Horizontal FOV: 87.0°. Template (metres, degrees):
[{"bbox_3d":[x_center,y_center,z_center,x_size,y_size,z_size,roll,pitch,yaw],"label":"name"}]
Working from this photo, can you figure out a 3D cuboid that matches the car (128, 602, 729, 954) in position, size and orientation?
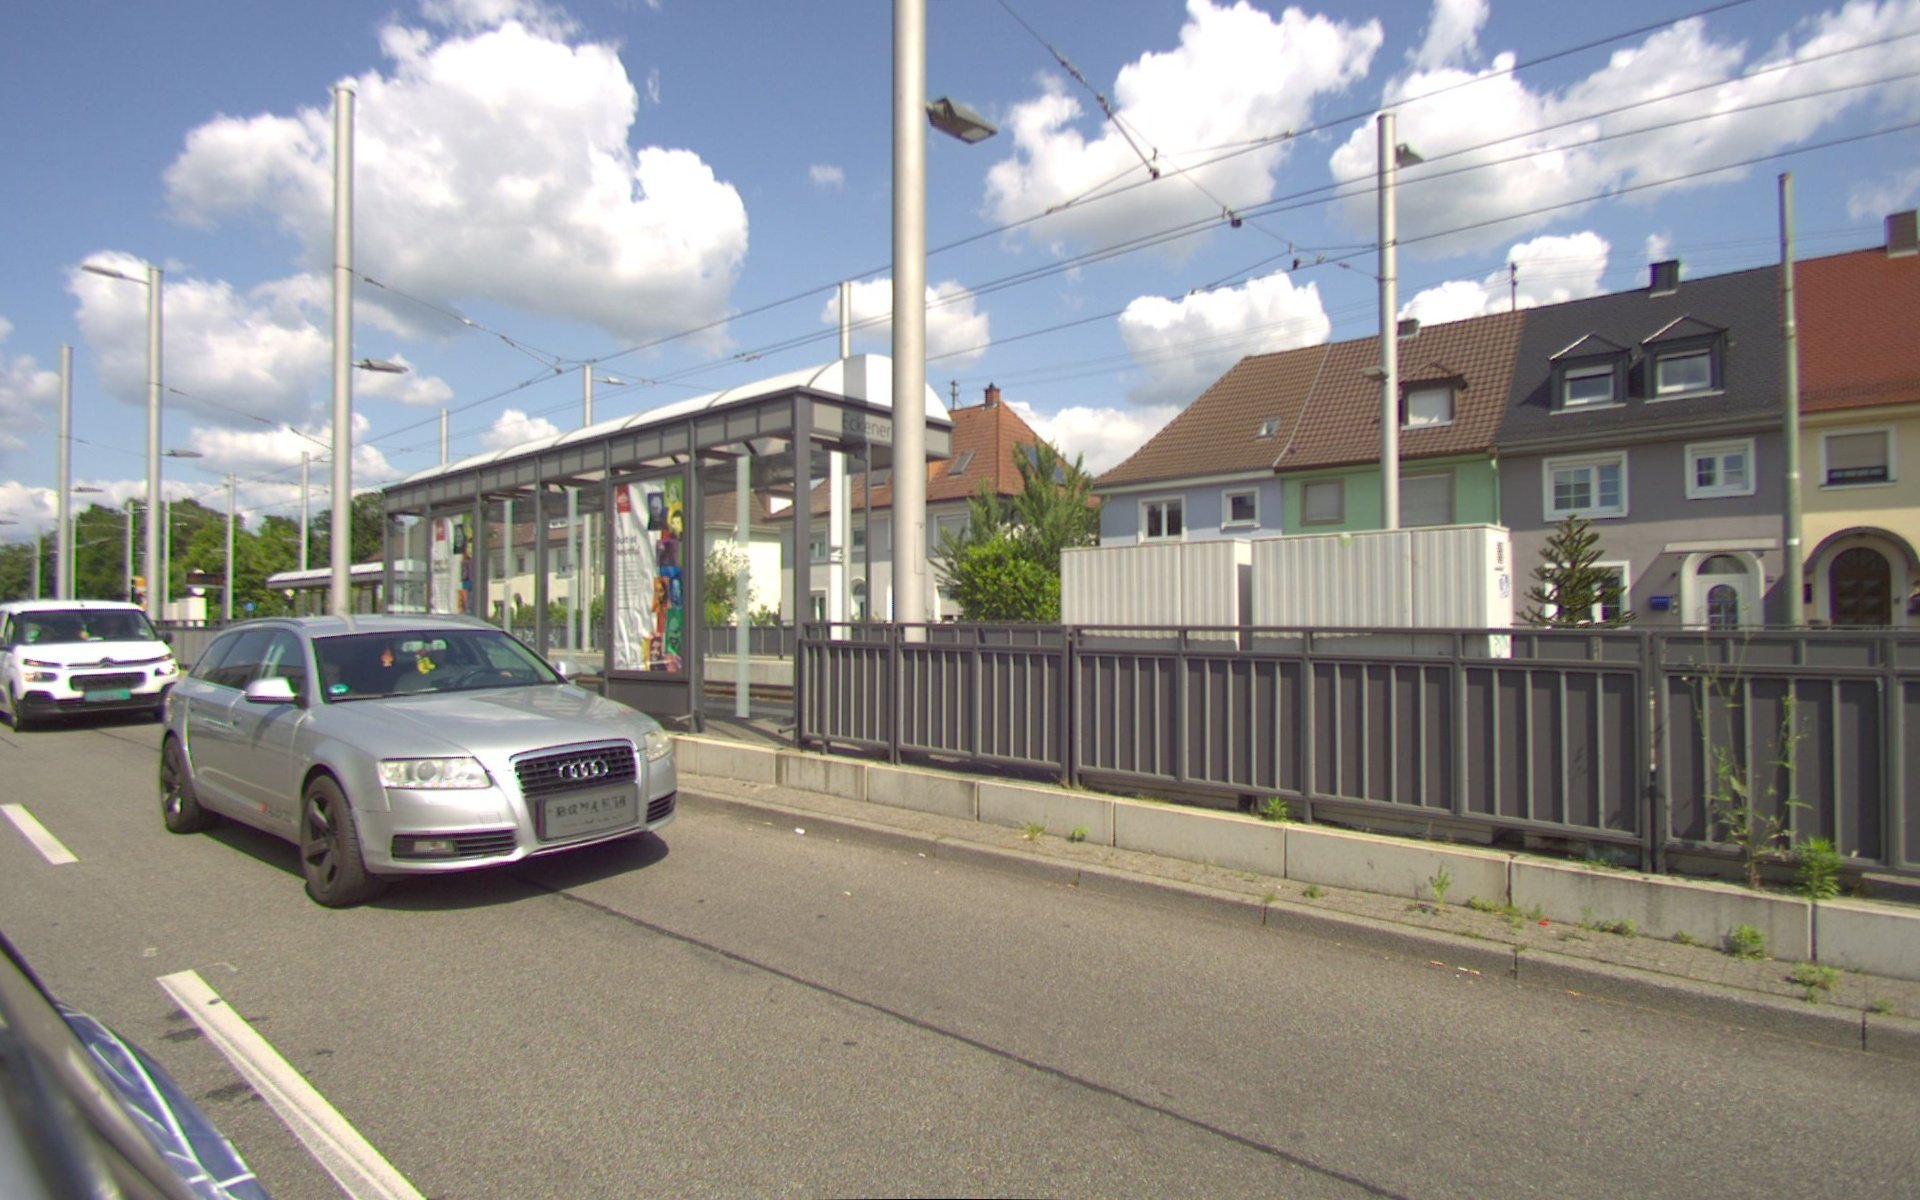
[{"bbox_3d":[-3.679,0.786,6.535,4.718,1.483,1.776,-1,0,40],"label":"car"}]

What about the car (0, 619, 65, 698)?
[{"bbox_3d":[-19.950,1.191,20.889,3.389,1.515,1.660,-1,0,39],"label":"car"}]

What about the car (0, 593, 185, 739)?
[{"bbox_3d":[-13.018,0.844,14.807,4.326,1.829,1.776,-1,0,40],"label":"car"}]
